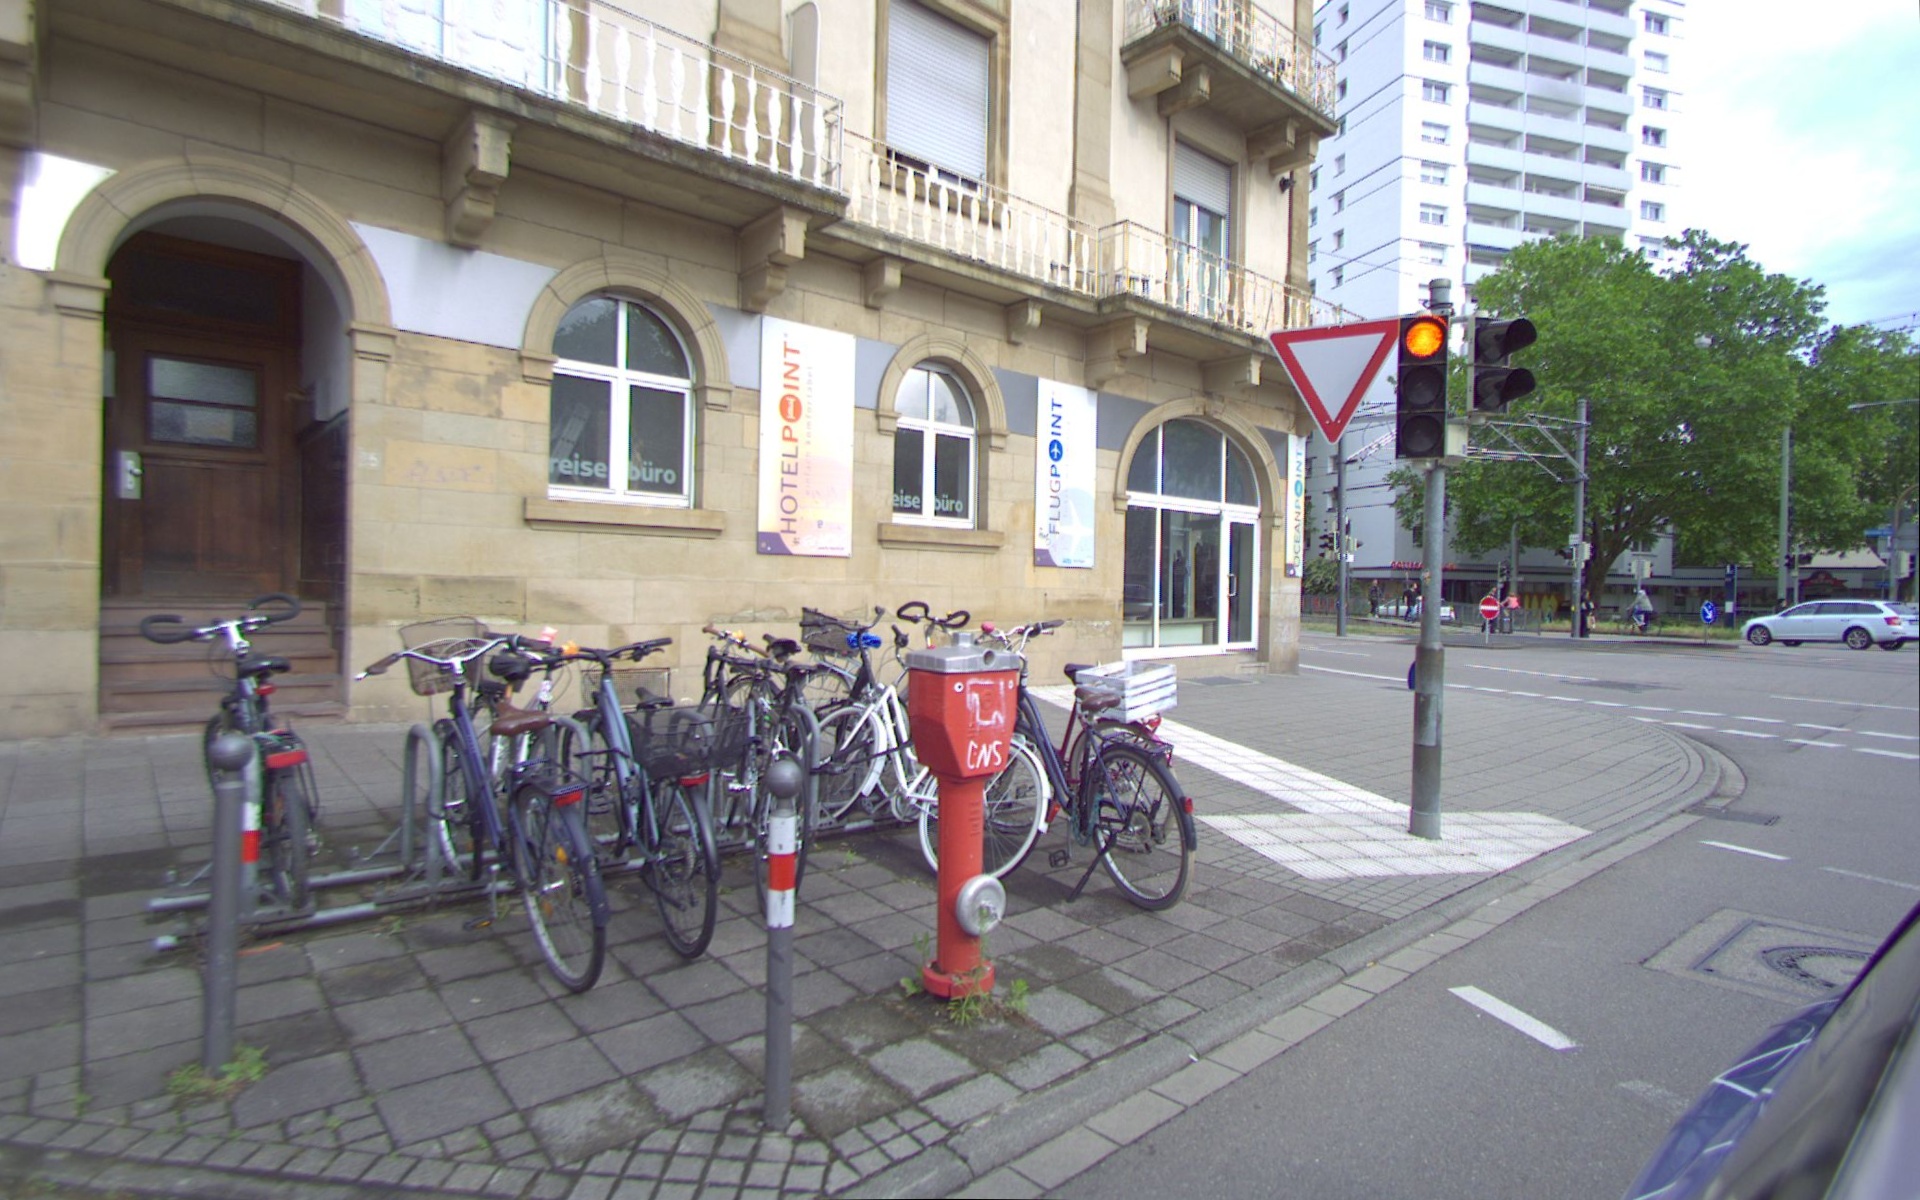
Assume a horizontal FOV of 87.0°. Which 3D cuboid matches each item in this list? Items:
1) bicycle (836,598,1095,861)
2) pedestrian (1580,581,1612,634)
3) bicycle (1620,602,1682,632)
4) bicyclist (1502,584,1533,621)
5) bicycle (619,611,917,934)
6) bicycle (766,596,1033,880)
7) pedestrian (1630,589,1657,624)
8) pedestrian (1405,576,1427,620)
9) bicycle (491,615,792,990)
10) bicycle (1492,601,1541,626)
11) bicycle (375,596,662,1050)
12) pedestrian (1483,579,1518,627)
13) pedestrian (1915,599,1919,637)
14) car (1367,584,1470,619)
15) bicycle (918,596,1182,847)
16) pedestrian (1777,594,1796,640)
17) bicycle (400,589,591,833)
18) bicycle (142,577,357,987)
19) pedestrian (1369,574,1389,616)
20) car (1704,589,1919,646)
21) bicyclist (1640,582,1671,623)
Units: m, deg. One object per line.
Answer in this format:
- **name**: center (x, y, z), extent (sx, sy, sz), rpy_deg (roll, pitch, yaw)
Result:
- **bicycle**: center (-0.027, 0.619, 5.568), extent (0.468, 1.140, 1.570), rpy_deg (-1, 5, -42)
- **pedestrian**: center (21.441, 0.236, 34.127), extent (0.642, 1.772, 0.629), rpy_deg (-1, 1, -15)
- **bicycle**: center (27.215, 0.664, 39.896), extent (0.714, 1.077, 1.997), rpy_deg (3, 1, -17)
- **bicyclist**: center (25.632, 0.125, 46.568), extent (0.693, 1.658, 0.996), rpy_deg (3, 0, -17)
- **bicycle**: center (-0.938, 0.649, 4.539), extent (0.468, 1.051, 1.736), rpy_deg (-1, 5, -42)
- **bicycle**: center (-0.372, 0.608, 5.194), extent (0.468, 1.140, 1.570), rpy_deg (-1, 5, -42)
- **pedestrian**: center (30.344, 0.274, 44.929), extent (0.543, 1.528, 0.855), rpy_deg (-1, 1, -18)
- **pedestrian**: center (18.617, -0.100, 41.296), extent (0.609, 1.773, 0.549), rpy_deg (-1, 1, -16)
- **bicycle**: center (-1.350, 0.665, 4.042), extent (0.468, 1.051, 1.736), rpy_deg (-1, 5, -42)
- **bicycle**: center (25.598, 0.612, 46.579), extent (0.714, 1.077, 1.997), rpy_deg (3, 1, -17)
- **bicycle**: center (-1.640, 0.636, 3.609), extent (0.468, 1.186, 1.570), rpy_deg (-1, 5, -42)
- **pedestrian**: center (19.585, 0.100, 36.672), extent (0.727, 1.716, 0.881), rpy_deg (-1, 1, -16)
- **pedestrian**: center (36.008, 0.668, 37.850), extent (0.385, 1.382, 0.416), rpy_deg (-1, 1, -44)
- **car**: center (20.883, 0.039, 46.299), extent (1.809, 1.466, 4.423), rpy_deg (-1, 1, -17)
- **bicycle**: center (0.453, 0.604, 5.769), extent (0.468, 1.140, 1.570), rpy_deg (-1, 5, -42)
- **pedestrian**: center (30.024, 0.601, 36.751), extent (0.522, 1.632, 0.519), rpy_deg (0, 1, 41)
- **bicycle**: center (-2.627, 0.521, 5.618), extent (0.468, 1.051, 1.736), rpy_deg (-1, 5, -42)
- **bicycle**: center (-2.843, 0.554, 3.978), extent (0.487, 1.186, 1.783), rpy_deg (-1, 5, -42)
- **pedestrian**: center (18.311, -0.222, 44.274), extent (0.609, 1.812, 0.536), rpy_deg (-1, 1, -16)
- **car**: center (26.591, 0.494, 31.294), extent (1.808, 1.545, 5.715), rpy_deg (2, 0, -19)
- **bicyclist**: center (27.281, 0.095, 39.706), extent (0.572, 1.582, 0.758), rpy_deg (3, 0, -17)
